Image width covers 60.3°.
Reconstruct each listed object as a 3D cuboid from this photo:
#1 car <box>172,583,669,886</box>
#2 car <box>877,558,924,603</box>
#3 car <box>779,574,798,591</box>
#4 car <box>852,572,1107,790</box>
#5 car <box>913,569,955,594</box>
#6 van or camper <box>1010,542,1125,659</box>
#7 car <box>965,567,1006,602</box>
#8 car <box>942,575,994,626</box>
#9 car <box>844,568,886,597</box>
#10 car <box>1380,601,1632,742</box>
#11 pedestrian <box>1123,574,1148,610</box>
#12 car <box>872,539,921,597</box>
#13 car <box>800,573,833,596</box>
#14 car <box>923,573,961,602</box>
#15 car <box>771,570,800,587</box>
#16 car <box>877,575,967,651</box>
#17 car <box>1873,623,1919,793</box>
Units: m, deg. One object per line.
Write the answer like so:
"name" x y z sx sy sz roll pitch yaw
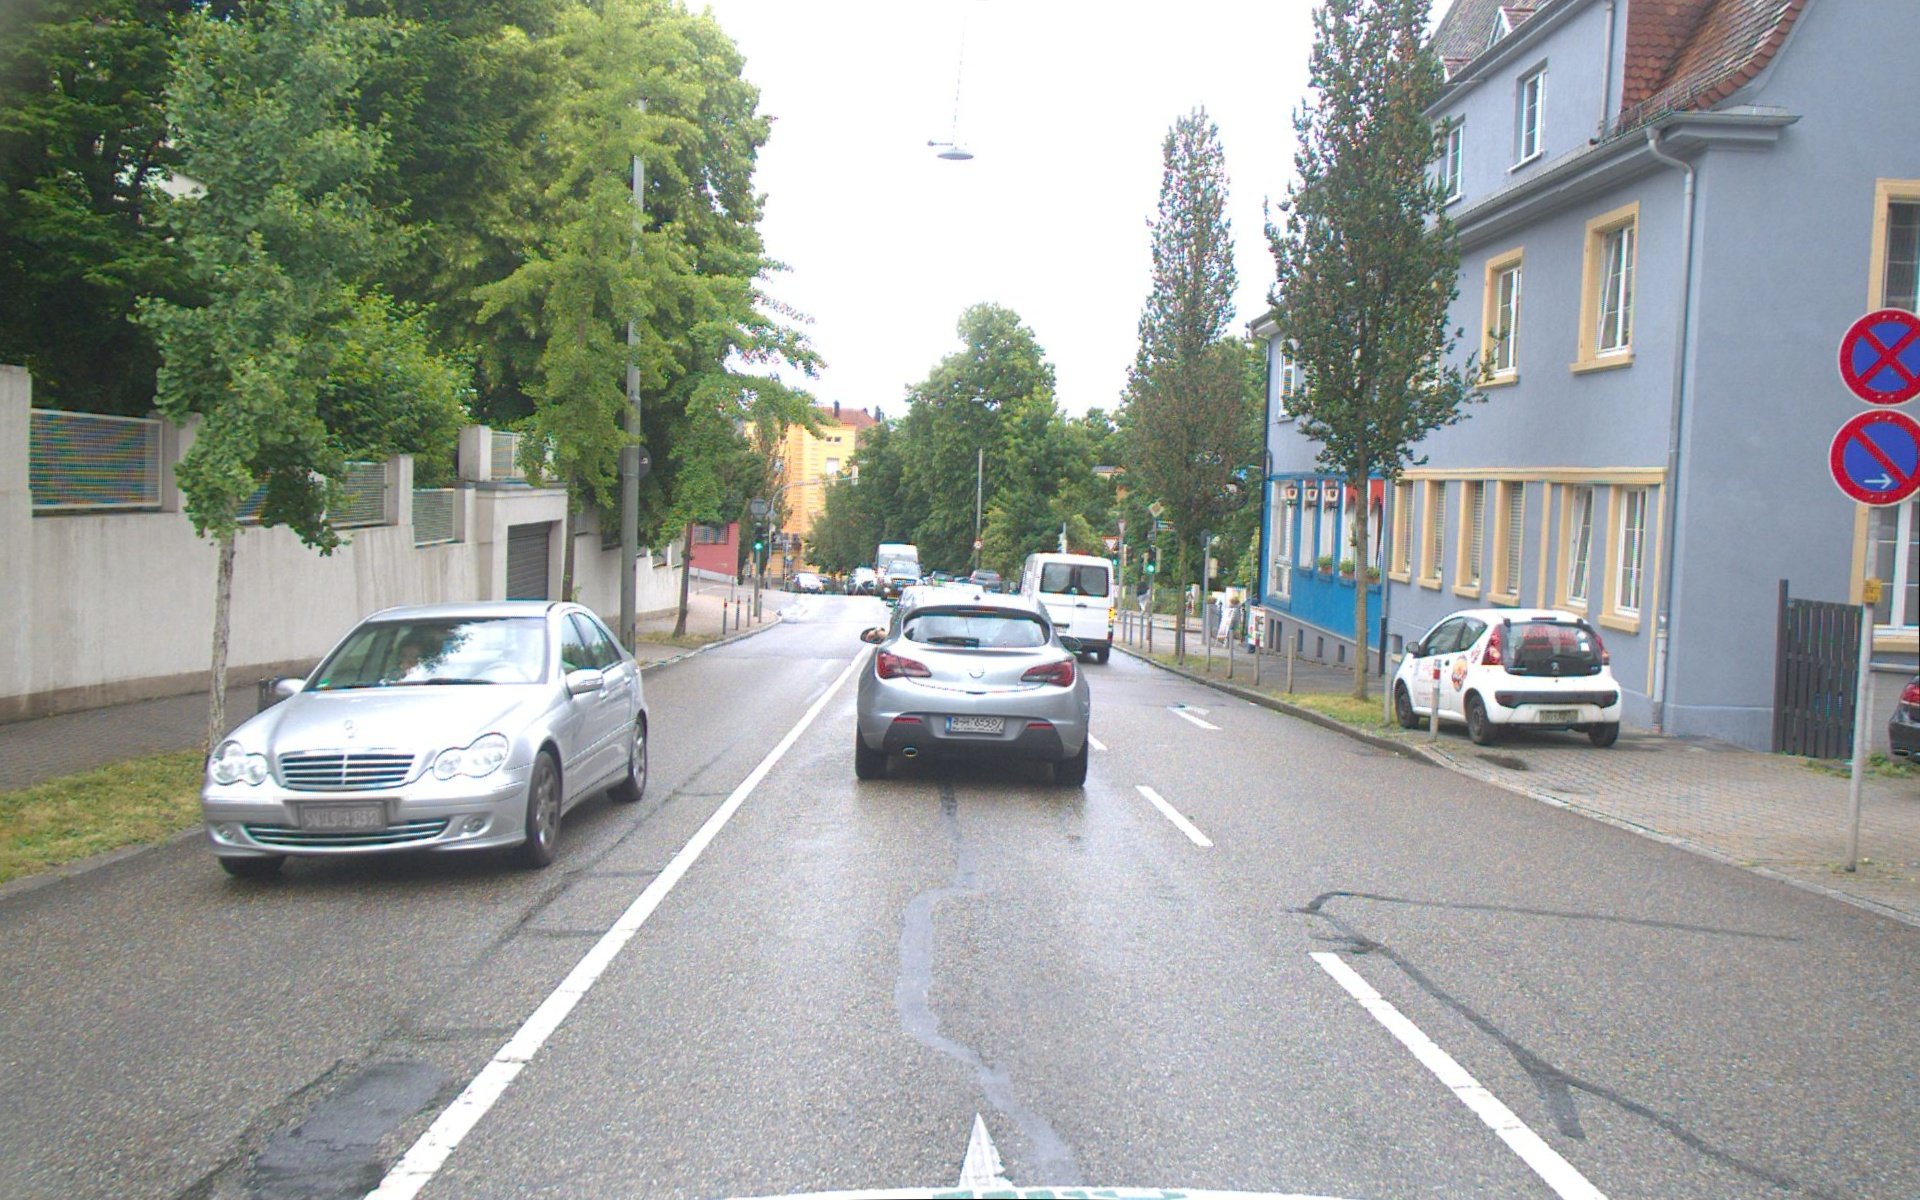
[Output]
"car" -2.993 0.630 10.169 1.684 1.409 4.284 -1 1 -1
"car" -2.533 -0.857 70.079 1.786 1.680 4.343 4 1 -4
"car" -17.190 -1.775 165.945 1.742 1.454 3.782 4 1 -6
"car" 0.109 0.561 14.044 1.778 1.454 4.000 3 1 -1
"car" -1.753 -1.211 108.799 1.785 1.521 3.983 -3 1 -15
"van or camper" 2.416 -0.018 38.592 2.061 2.366 5.416 4 0 -1
"car" 1.158 -0.701 76.725 1.588 1.512 3.433 2 0 -3
"car" 0.211 -0.010 49.290 1.355 1.436 3.455 2 1 -2
"car" -5.655 -1.062 98.134 1.842 1.602 4.573 3 0 -11
"car" 6.270 0.766 19.356 1.555 1.436 3.453 1 1 -5
"pedestrian" 7.909 -0.375 74.608 0.756 1.633 0.958 0 0 -26
"car" -3.100 -1.511 79.731 2.076 2.590 5.535 2 0 -4
"car" -10.310 -1.102 118.374 1.743 1.523 4.250 3 0 -12
"car" -1.001 -0.672 90.404 1.590 1.512 3.429 2 0 -8
"car" -16.393 -2.046 155.694 1.788 1.493 3.977 -2 1 -20
"car" -0.793 0.248 34.807 1.740 1.454 3.785 2 0 -1
"car" 10.362 1.024 14.458 4.290 1.432 1.798 2 0 -21
